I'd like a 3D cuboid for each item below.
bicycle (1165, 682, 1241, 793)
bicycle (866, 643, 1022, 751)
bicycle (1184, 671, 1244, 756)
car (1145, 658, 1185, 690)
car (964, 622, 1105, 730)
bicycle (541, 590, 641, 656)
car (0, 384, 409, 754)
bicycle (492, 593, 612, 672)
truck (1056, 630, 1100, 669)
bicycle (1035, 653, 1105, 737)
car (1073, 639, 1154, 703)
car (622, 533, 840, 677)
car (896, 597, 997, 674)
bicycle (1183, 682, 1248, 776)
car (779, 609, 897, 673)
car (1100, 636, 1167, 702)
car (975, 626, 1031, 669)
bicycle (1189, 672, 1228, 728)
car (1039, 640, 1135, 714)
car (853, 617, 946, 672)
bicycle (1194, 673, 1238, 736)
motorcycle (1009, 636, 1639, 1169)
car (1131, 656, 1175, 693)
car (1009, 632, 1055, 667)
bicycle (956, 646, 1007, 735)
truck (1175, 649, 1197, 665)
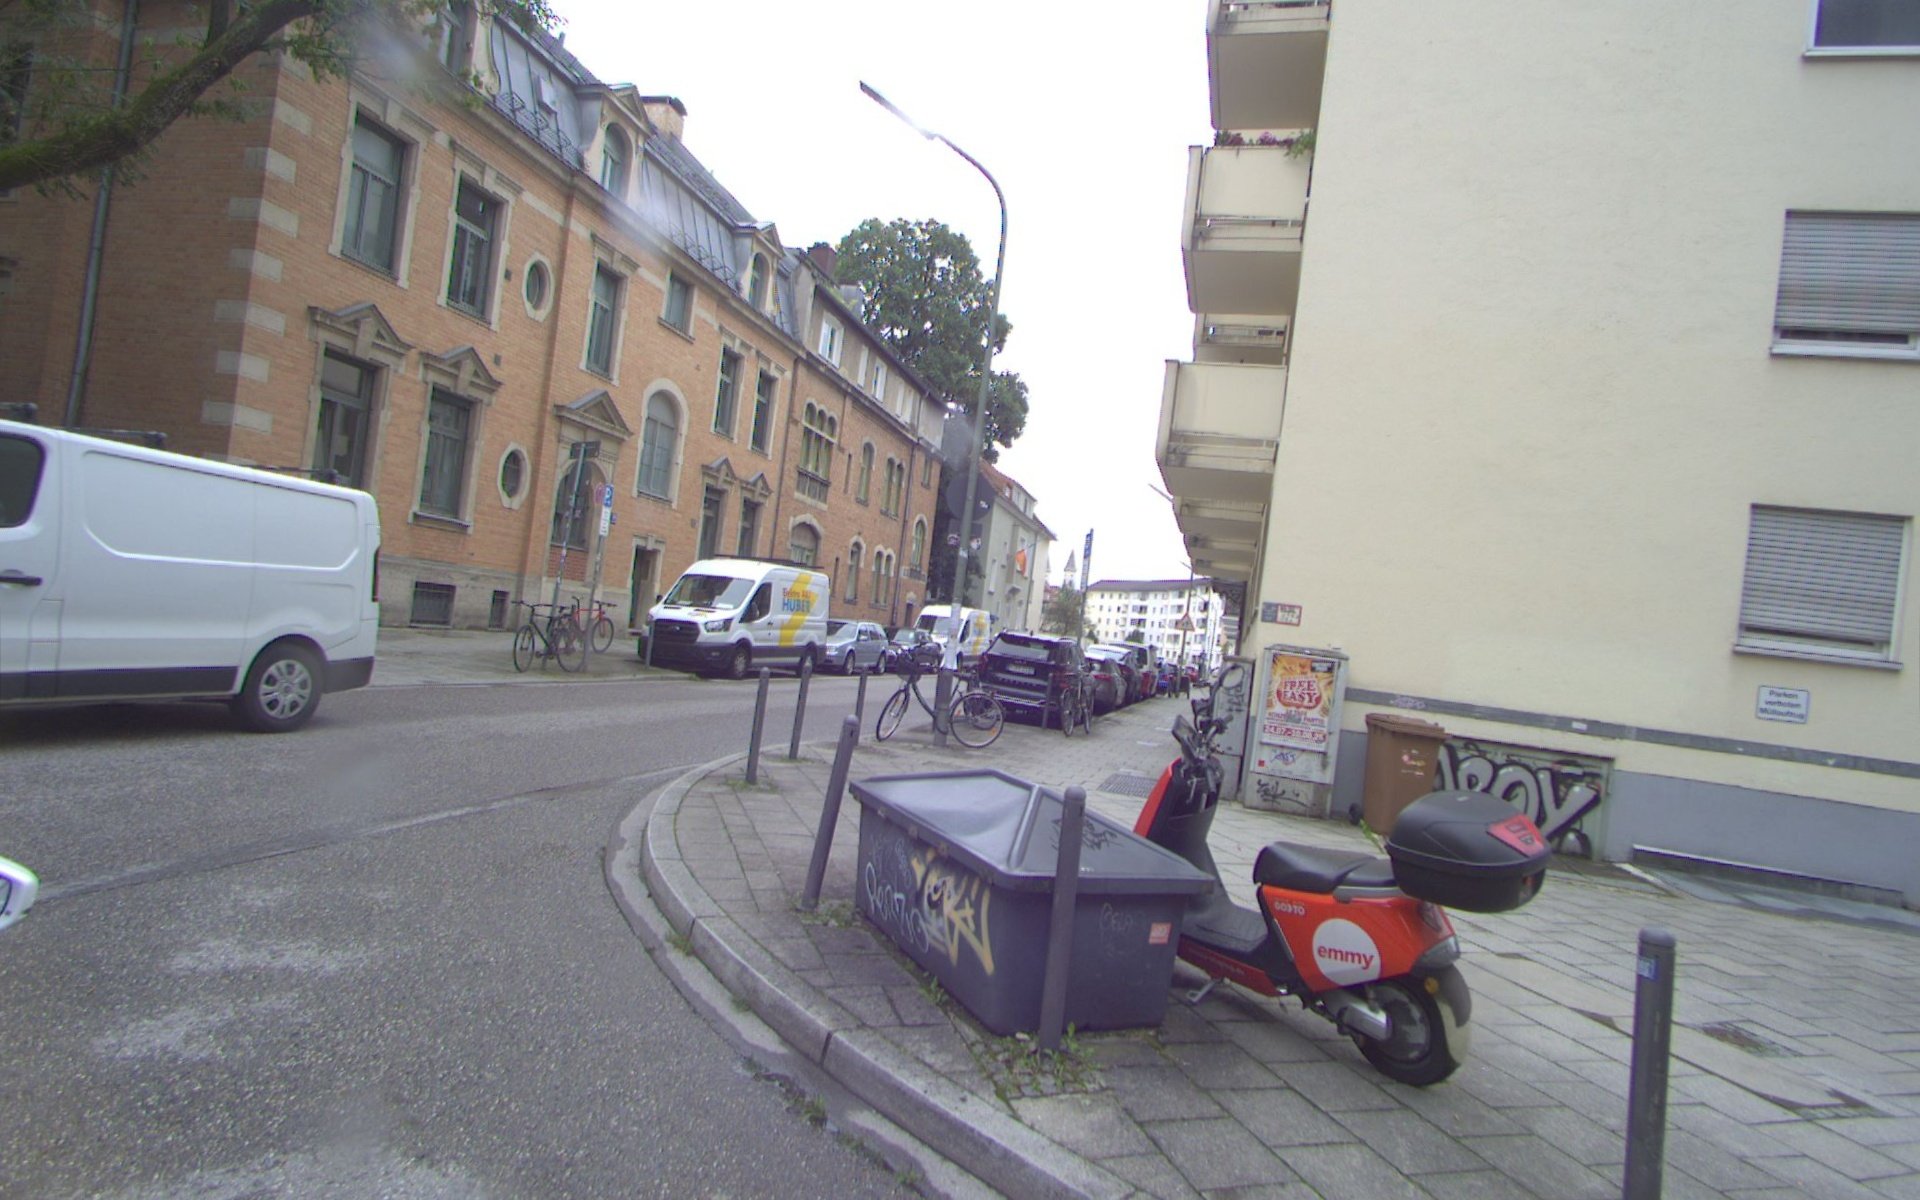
[{"bbox_3d":[2.744,1.487,11.257,0.570,1.066,1.764,6,-2,19],"label":"bicycle"},{"bbox_3d":[-0.218,1.185,12.408,1.732,1.078,0.775,7,-2,-7],"label":"bicycle"},{"bbox_3d":[4.133,1.813,16.459,0.676,1.220,1.765,7,-2,9],"label":"bicycle"},{"bbox_3d":[10.917,3.922,53.427,1.623,1.450,4.005,7,-2,16],"label":"car"},{"bbox_3d":[1.591,1.482,19.726,1.820,1.657,4.556,7,-2,15],"label":"car"},{"bbox_3d":[-6.924,0.458,18.981,0.570,1.066,1.896,8,-2,19],"label":"bicycle"},{"bbox_3d":[-6.264,-0.225,6.283,2.007,2.065,4.963,5,-2,13],"label":"car"},{"bbox_3d":[-6.200,0.525,15.390,0.570,1.066,1.764,6,-2,19],"label":"bicycle"},{"bbox_3d":[8.305,3.529,70.439,1.962,2.345,5.416,7,-2,16],"label":"truck"},{"bbox_3d":[1.769,1.485,15.863,0.570,1.167,1.965,6,-2,19],"label":"bicycle"},{"bbox_3d":[4.748,2.165,30.566,1.830,1.569,4.760,7,-2,14],"label":"car"},{"bbox_3d":[-4.583,0.271,21.316,1.961,2.496,5.478,5,-3,15],"label":"car"},{"bbox_3d":[-0.393,1.390,37.159,2.103,2.376,5.377,7,-2,15],"label":"car"},{"bbox_3d":[3.339,1.634,13.033,0.570,1.066,1.764,6,-2,19],"label":"bicycle"},{"bbox_3d":[-3.187,1.157,27.048,1.662,1.471,4.001,5,-3,15],"label":"car"},{"bbox_3d":[6.351,2.502,36.382,1.840,1.990,4.823,7,-2,14],"label":"car"},{"bbox_3d":[2.089,2.290,47.485,1.792,1.730,4.006,7,-2,13],"label":"car"},{"bbox_3d":[5.251,2.098,21.347,0.570,1.066,1.765,7,-2,10],"label":"bicycle"},{"bbox_3d":[3.347,1.954,25.761,1.700,1.476,4.422,8,-2,15],"label":"car"},{"bbox_3d":[-1.860,1.463,32.121,1.671,1.448,3.835,6,-3,16],"label":"car"},{"bbox_3d":[4.896,1.984,19.344,0.570,1.066,1.840,7,-2,10],"label":"bicycle"},{"bbox_3d":[1.269,0.941,3.933,0.812,1.371,2.061,8,-2,-41],"label":"motorcycle"},{"bbox_3d":[8.919,3.452,46.366,1.583,1.450,3.624,7,-2,15],"label":"car"},{"bbox_3d":[3.873,2.683,53.671,1.816,1.557,4.006,7,-2,11],"label":"car"},{"bbox_3d":[0.336,1.296,14.889,0.570,1.167,1.965,7,-2,3],"label":"bicycle"},{"bbox_3d":[36.119,9.097,161.154,2.191,2.328,5.293,5,-1,1],"label":"truck"}]
